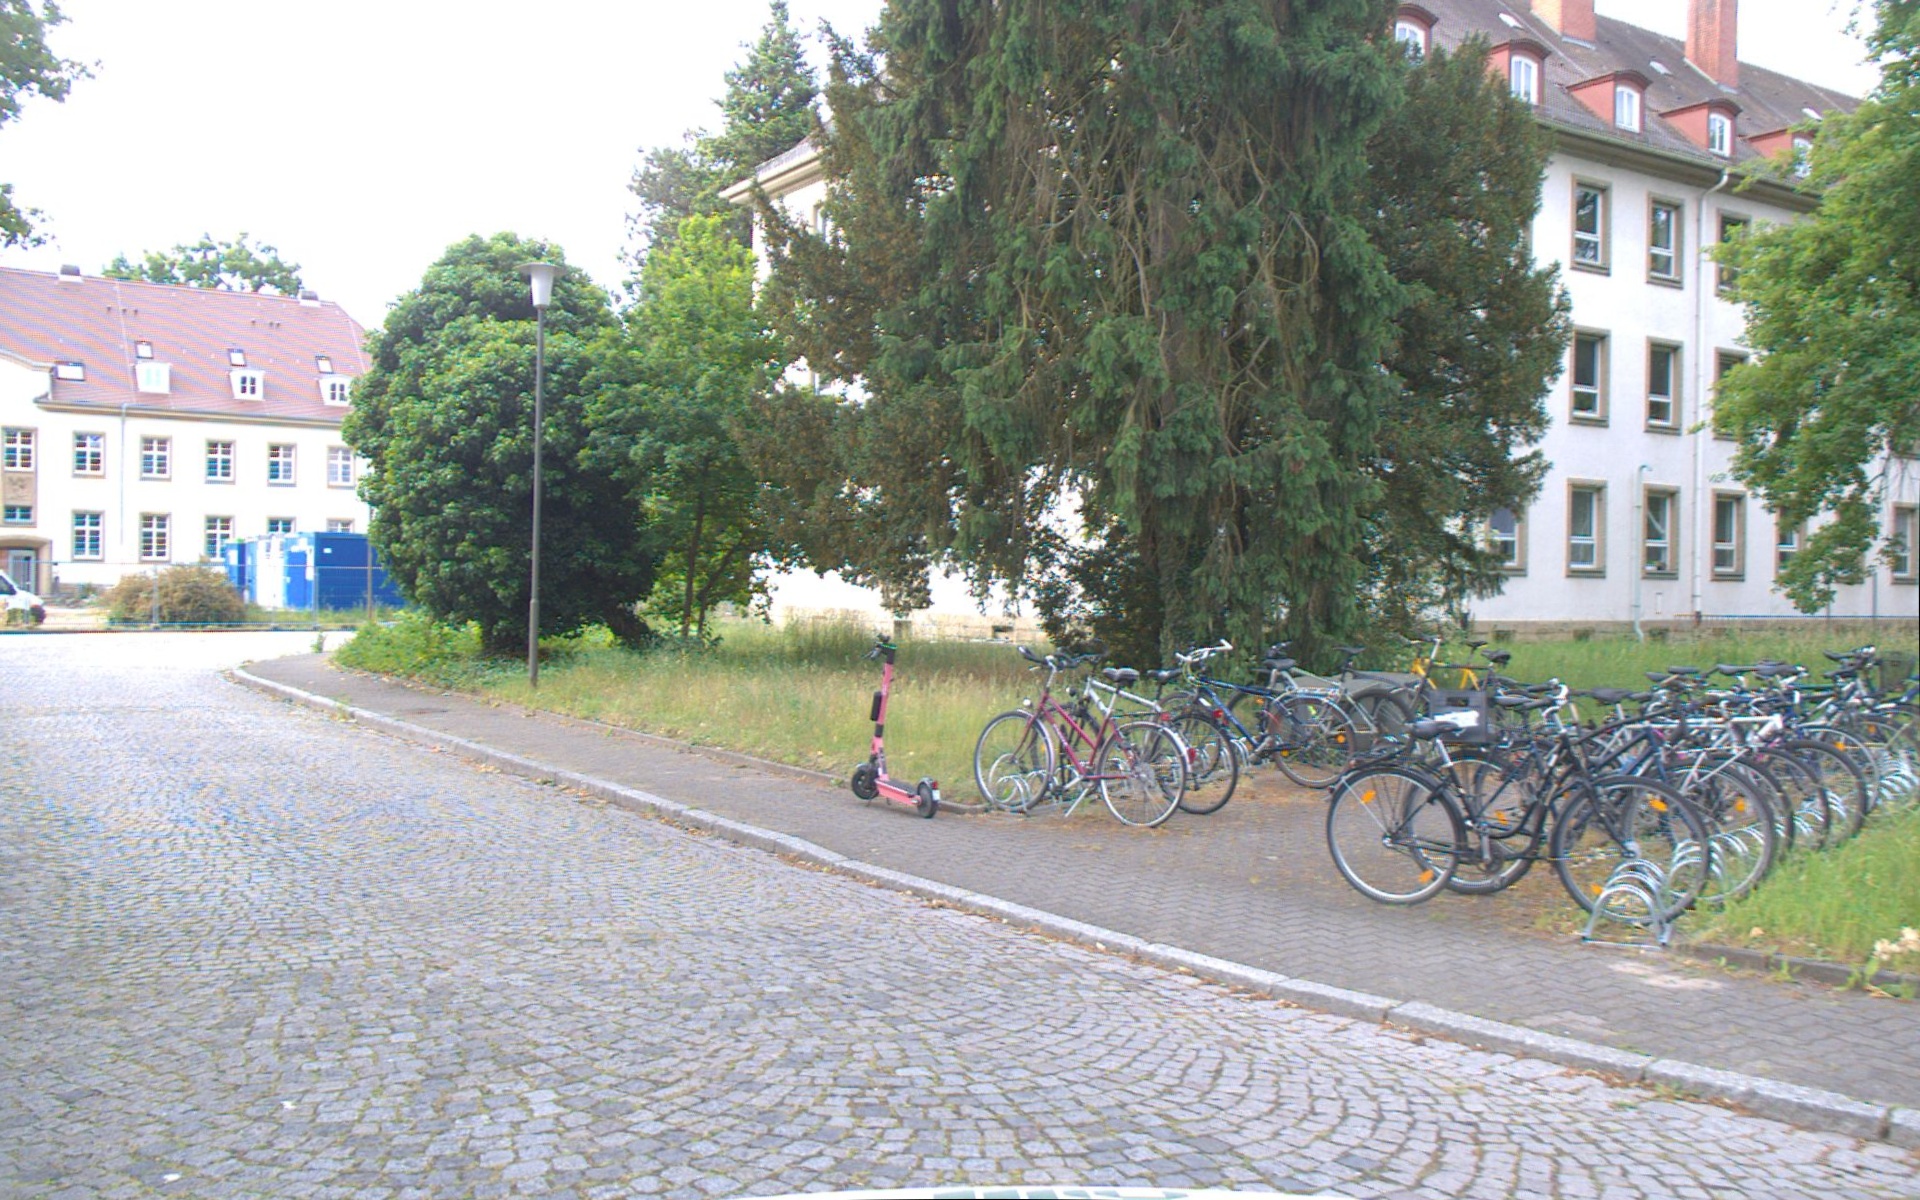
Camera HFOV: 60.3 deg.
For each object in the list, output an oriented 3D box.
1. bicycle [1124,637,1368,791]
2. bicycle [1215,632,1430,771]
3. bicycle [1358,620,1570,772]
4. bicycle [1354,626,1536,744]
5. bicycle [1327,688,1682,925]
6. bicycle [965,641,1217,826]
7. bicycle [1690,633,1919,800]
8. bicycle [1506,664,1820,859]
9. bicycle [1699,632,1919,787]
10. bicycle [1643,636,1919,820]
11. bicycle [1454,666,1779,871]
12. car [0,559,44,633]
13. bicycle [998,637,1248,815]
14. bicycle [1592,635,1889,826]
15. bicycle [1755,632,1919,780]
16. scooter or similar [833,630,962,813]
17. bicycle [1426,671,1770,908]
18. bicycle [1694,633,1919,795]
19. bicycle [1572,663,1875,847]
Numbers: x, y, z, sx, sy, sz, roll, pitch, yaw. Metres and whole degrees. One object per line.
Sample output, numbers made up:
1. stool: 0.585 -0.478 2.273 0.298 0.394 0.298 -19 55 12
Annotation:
1. bicycle: 2.228 0.861 12.984 1.787 1.083 0.617 1 0 32
2. bicycle: 3.097 0.842 14.204 1.717 1.083 0.550 1 0 32
3. bicycle: 4.322 0.790 14.278 0.546 1.191 1.728 1 0 -41
4. bicycle: 4.750 0.812 16.269 1.654 1.060 0.548 1 0 43
5. bicycle: 2.629 0.964 8.039 1.585 1.025 0.477 -1 -1 26
6. bicycle: 0.878 0.879 11.430 1.736 1.134 0.549 1 0 40
7. bicycle: 6.447 0.841 12.374 1.733 1.131 0.475 1 0 41
8. bicycle: 4.109 0.910 9.752 1.637 1.025 0.475 -1 -1 41
9. bicycle: 6.868 0.845 13.316 0.438 1.131 1.626 1 0 -43
10. bicycle: 5.655 0.837 11.335 1.729 1.131 0.476 1 0 35
11. bicycle: 3.664 0.905 9.323 1.637 1.025 0.475 -1 -1 41
12. car: -32.715 -0.134 53.614 5.212 2.385 1.889 0 0 -32
13. bicycle: 1.140 0.859 11.850 1.771 1.134 0.549 1 0 40
14. bicycle: 5.193 0.830 11.076 1.733 1.131 0.475 1 0 41
15. bicycle: 7.481 0.850 13.487 1.733 1.131 0.475 1 0 41
16. scooter or similar: -0.466 0.850 11.996 0.354 1.231 1.122 1 0 -37
17. bicycle: 3.225 0.923 8.408 1.585 1.093 0.477 -1 -1 26
18. bicycle: 6.607 0.846 12.823 0.438 1.131 1.626 1 0 -43
19. bicycle: 4.698 0.917 10.247 1.637 1.025 0.475 -1 -1 41
